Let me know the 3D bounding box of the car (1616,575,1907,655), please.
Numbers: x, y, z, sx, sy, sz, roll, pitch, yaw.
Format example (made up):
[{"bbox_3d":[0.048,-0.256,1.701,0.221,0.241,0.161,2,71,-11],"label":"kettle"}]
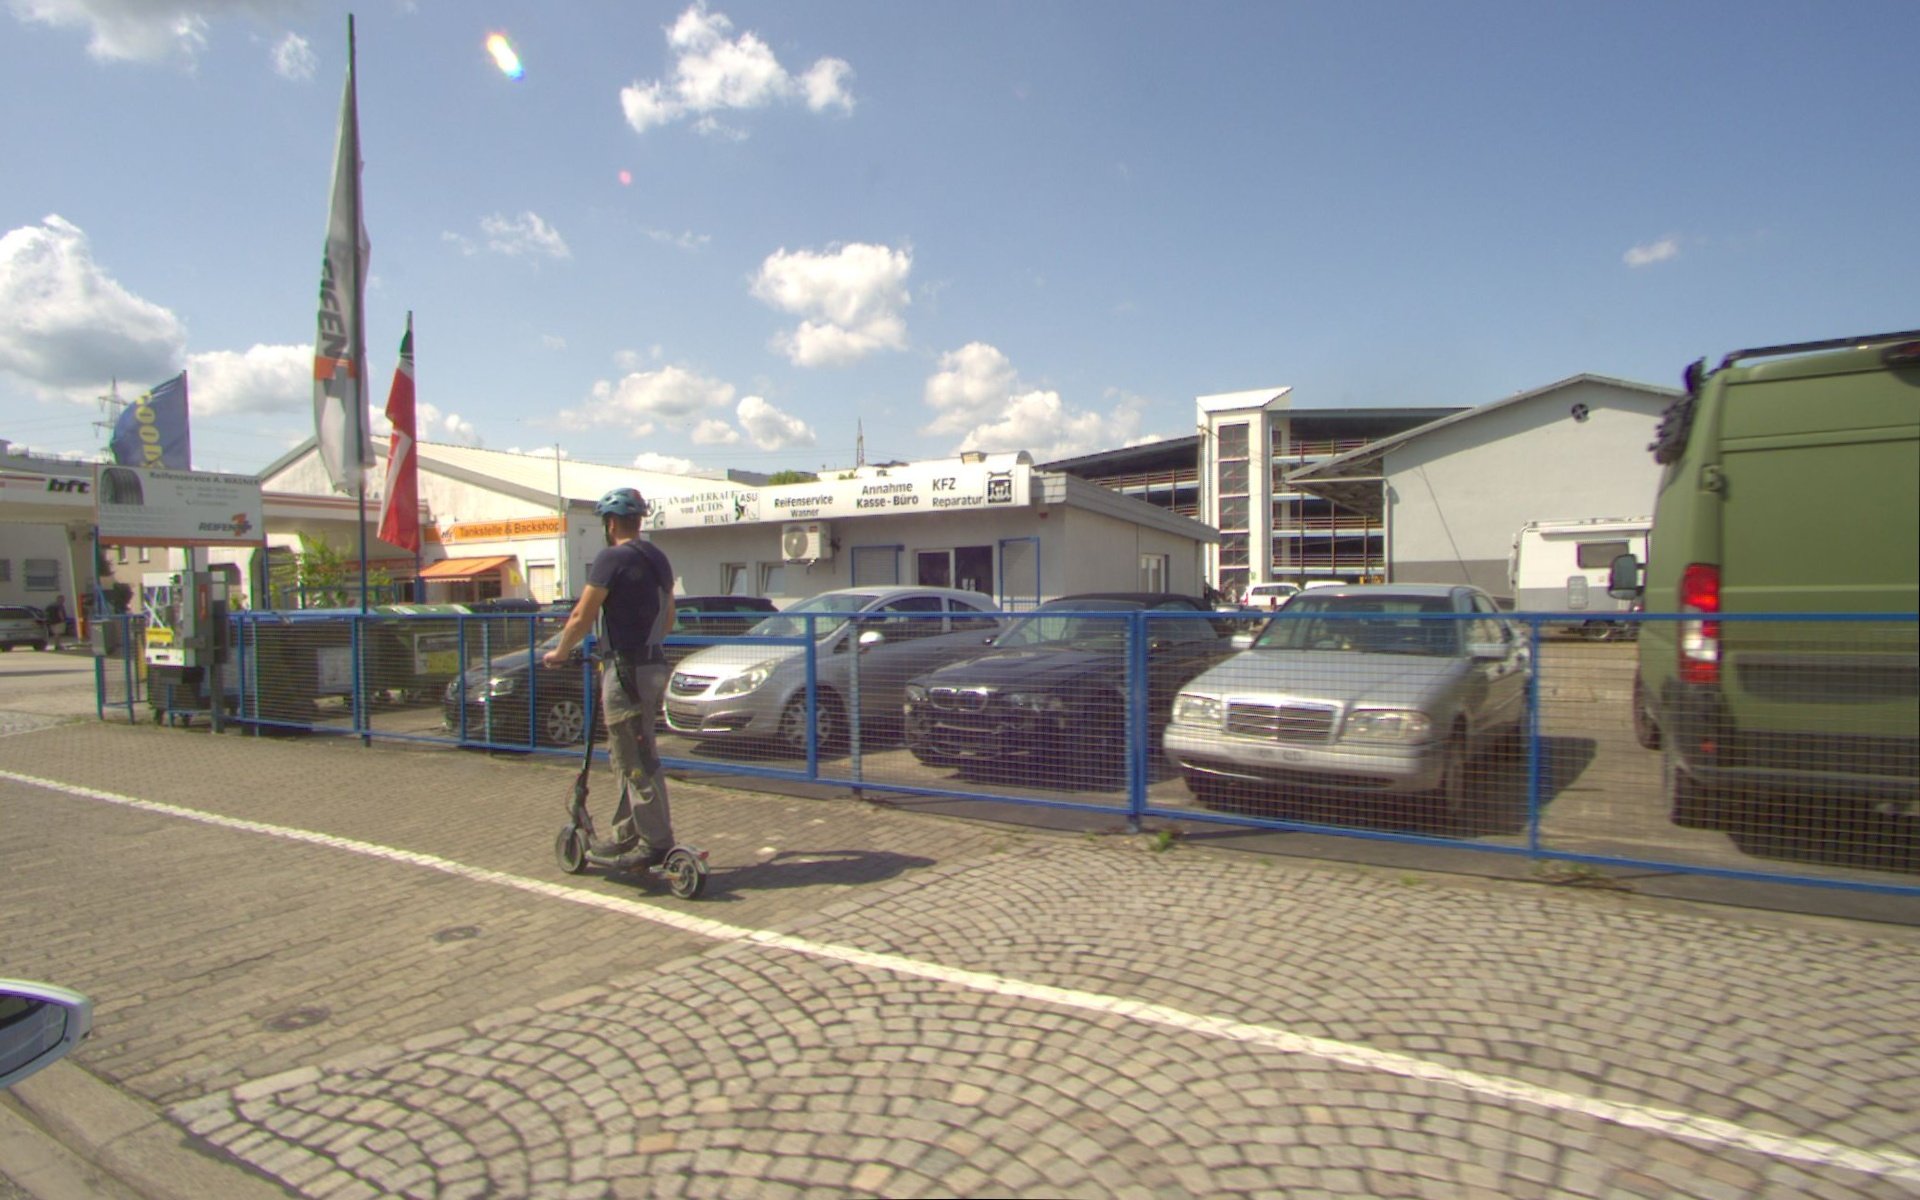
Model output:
[{"bbox_3d":[15.273,0.279,19.407,4.118,1.407,1.919,-1,1,30],"label":"car"}]

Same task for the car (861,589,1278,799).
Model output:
[{"bbox_3d":[1.170,0.619,8.796,1.798,1.374,3.969,-1,1,39],"label":"car"}]

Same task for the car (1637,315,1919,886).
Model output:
[{"bbox_3d":[5.708,-0.023,6.406,2.120,2.608,4.526,0,1,32],"label":"car"}]

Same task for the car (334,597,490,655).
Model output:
[{"bbox_3d":[-14.593,0.668,26.814,1.588,1.379,3.313,-1,1,31],"label":"car"}]

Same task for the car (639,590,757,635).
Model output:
[{"bbox_3d":[-9.158,0.406,35.240,1.589,1.407,3.999,-1,1,32],"label":"car"}]

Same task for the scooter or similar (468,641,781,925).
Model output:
[{"bbox_3d":[-1.710,0.834,5.038,1.587,1.211,0.539,-1,3,31],"label":"scooter or similar"}]

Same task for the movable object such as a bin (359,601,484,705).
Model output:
[{"bbox_3d":[-8.083,0.769,15.092,0.939,1.464,1.320,-1,1,24],"label":"movable object such as a bin"}]

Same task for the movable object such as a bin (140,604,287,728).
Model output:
[{"bbox_3d":[-9.526,0.808,12.811,0.812,1.464,1.253,-1,2,31],"label":"movable object such as a bin"}]

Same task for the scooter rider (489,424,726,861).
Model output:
[{"bbox_3d":[-1.757,0.190,5.050,0.774,1.991,0.715,0,4,31],"label":"scooter rider"}]

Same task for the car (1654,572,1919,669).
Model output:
[{"bbox_3d":[13.822,0.308,16.176,4.118,1.435,1.750,-1,1,30],"label":"car"}]

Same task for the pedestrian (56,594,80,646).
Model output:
[{"bbox_3d":[-29.750,0.673,33.397,0.478,1.712,0.395,0,2,32],"label":"pedestrian"}]

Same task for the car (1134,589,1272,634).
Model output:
[{"bbox_3d":[8.082,0.390,33.338,4.118,1.407,1.919,-1,1,30],"label":"car"}]

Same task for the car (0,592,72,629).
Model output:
[{"bbox_3d":[-45.585,0.519,48.097,1.936,1.671,3.980,-1,1,30],"label":"car"}]

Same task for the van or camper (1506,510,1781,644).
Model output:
[{"bbox_3d":[15.531,-0.465,23.181,4.984,2.811,2.305,-1,1,28],"label":"van or camper"}]

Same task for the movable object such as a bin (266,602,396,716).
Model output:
[{"bbox_3d":[-8.735,0.788,13.938,0.812,1.464,1.253,-1,2,31],"label":"movable object such as a bin"}]

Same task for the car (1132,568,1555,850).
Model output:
[{"bbox_3d":[3.052,0.540,7.347,1.797,1.450,4.167,-1,1,37],"label":"car"}]

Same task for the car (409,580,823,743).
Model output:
[{"bbox_3d":[-3.631,0.534,11.002,3.957,1.462,1.695,-1,1,-42],"label":"car"}]

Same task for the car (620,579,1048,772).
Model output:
[{"bbox_3d":[-1.083,0.575,9.916,3.960,1.516,1.733,-1,1,-44],"label":"car"}]

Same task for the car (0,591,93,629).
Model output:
[{"bbox_3d":[-43.437,0.474,46.803,1.936,1.671,3.980,-1,1,30],"label":"car"}]

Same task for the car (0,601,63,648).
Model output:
[{"bbox_3d":[-31.892,0.813,33.216,3.939,1.439,1.956,-1,1,29],"label":"car"}]

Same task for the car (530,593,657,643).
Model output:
[{"bbox_3d":[-11.343,0.528,31.206,1.588,1.379,3.489,-1,1,31],"label":"car"}]
